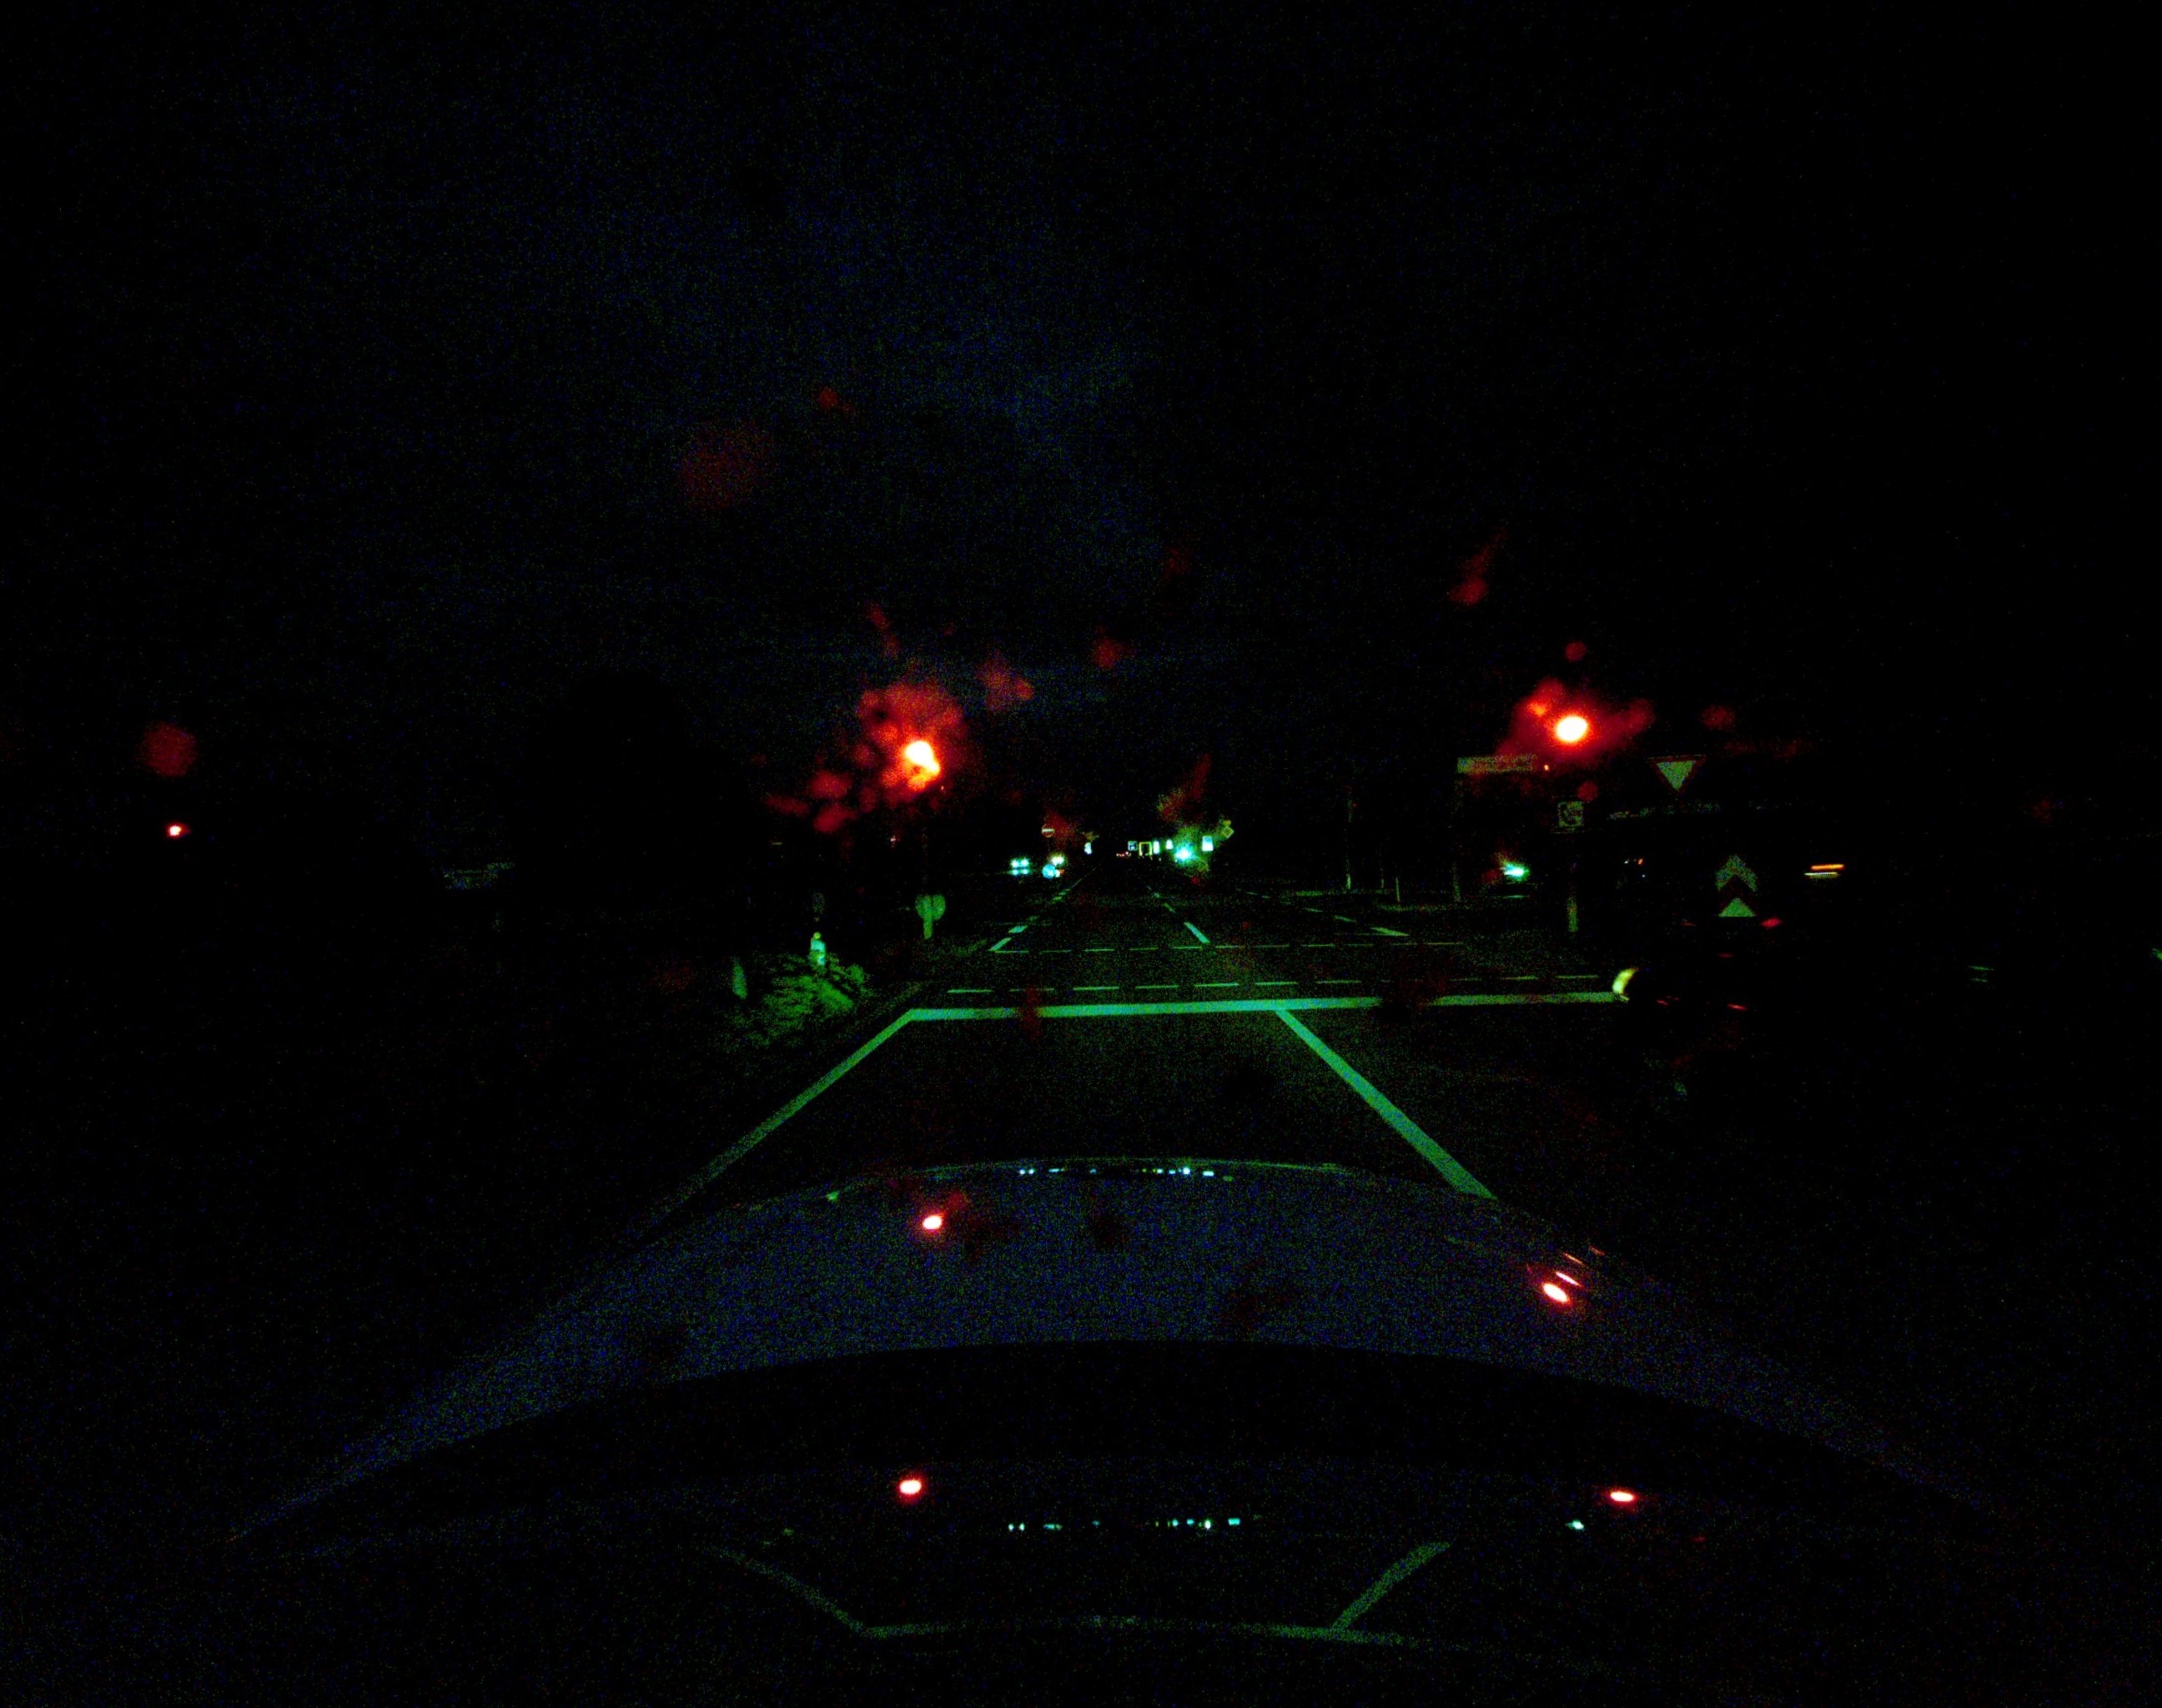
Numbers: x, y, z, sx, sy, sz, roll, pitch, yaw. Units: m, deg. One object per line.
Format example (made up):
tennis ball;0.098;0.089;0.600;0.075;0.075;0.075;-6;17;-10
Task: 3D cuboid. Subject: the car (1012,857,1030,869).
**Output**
car;-8.330;1.242;113.472;1.986;1.519;4.299;-2;0;2

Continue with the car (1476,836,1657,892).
car;15.549;0.305;26.284;4.583;1.520;2.001;-3;0;2

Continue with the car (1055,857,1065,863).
car;-4.910;1.347;191.655;1.986;1.387;4.002;-2;0;2

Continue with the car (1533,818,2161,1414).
car;3.637;0.651;3.159;1.663;1.520;4.109;-1;0;3

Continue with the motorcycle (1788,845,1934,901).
motorcycle;17.481;0.420;18.280;2.498;1.098;0.980;-3;0;-7

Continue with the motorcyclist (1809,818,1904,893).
motorcyclist;17.379;0.028;18.280;0.968;1.584;1.139;-3;0;-5
